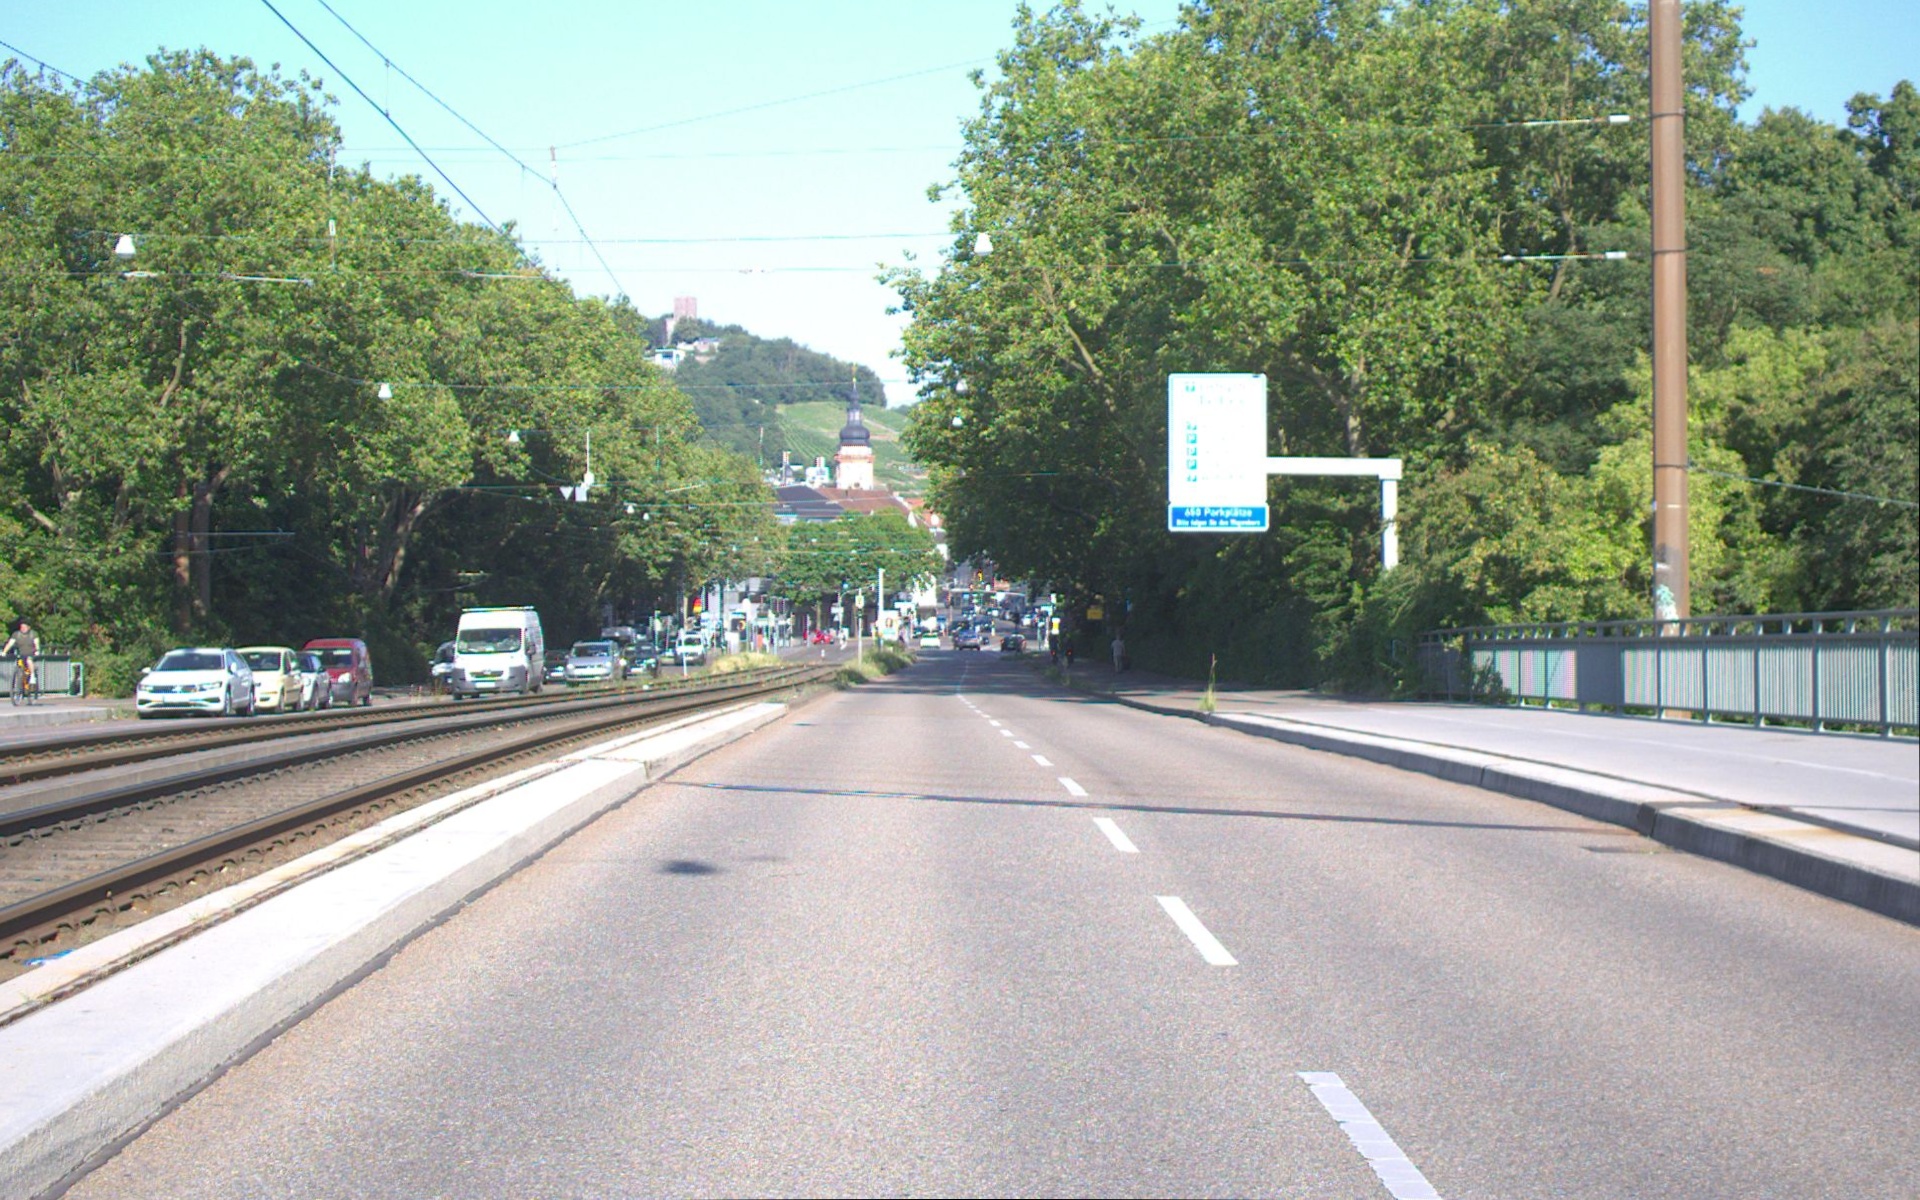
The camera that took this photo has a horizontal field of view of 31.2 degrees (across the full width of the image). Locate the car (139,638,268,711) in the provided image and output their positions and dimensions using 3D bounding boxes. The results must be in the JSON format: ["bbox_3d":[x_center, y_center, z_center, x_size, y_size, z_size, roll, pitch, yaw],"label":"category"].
[{"bbox_3d":[-15.783,1.534,71.956,1.741,1.459,4.956,0,0,-2],"label":"car"}]

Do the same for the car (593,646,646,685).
[{"bbox_3d":[-14.998,2.866,151.406,1.993,1.691,4.744,-1,-1,-2],"label":"car"}]

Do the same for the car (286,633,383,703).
[{"bbox_3d":[-16.108,1.732,88.738,1.741,1.748,4.684,0,0,-1],"label":"car"}]

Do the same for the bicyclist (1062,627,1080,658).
[{"bbox_3d":[5.949,2.280,184.684,0.887,1.633,1.164,-1,-1,0],"label":"bicyclist"}]

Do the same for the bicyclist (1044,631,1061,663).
[{"bbox_3d":[5.202,2.625,193.273,0.887,1.769,1.222,-1,-1,-3],"label":"bicyclist"}]

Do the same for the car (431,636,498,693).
[{"bbox_3d":[-16.824,2.172,116.848,1.741,1.737,4.514,-3,0,-3],"label":"car"}]

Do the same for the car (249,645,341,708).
[{"bbox_3d":[-16.097,1.840,83.356,1.633,1.446,4.002,0,0,-3],"label":"car"}]

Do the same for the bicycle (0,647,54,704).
[{"bbox_3d":[-18.896,1.510,69.347,0.679,1.094,2.100,2,0,0],"label":"bicycle"}]

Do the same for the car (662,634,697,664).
[{"bbox_3d":[-17.564,3.065,215.652,1.993,1.838,5.302,-1,0,-3],"label":"car"}]

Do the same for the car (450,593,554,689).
[{"bbox_3d":[-12.767,1.127,96.138,2.086,2.584,6.040,0,0,0],"label":"car"}]

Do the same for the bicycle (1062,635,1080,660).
[{"bbox_3d":[5.949,2.547,184.476,0.887,1.317,2.639,-1,-1,0],"label":"bicycle"}]

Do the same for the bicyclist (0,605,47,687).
[{"bbox_3d":[-18.879,0.930,69.298,0.679,1.621,0.890,2,0,0],"label":"bicyclist"}]

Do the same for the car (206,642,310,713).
[{"bbox_3d":[-15.894,1.735,77.979,1.633,1.526,3.790,0,0,-1],"label":"car"}]

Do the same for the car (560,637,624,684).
[{"bbox_3d":[-13.783,2.268,129.110,1.873,1.660,4.597,-2,0,0],"label":"car"}]
